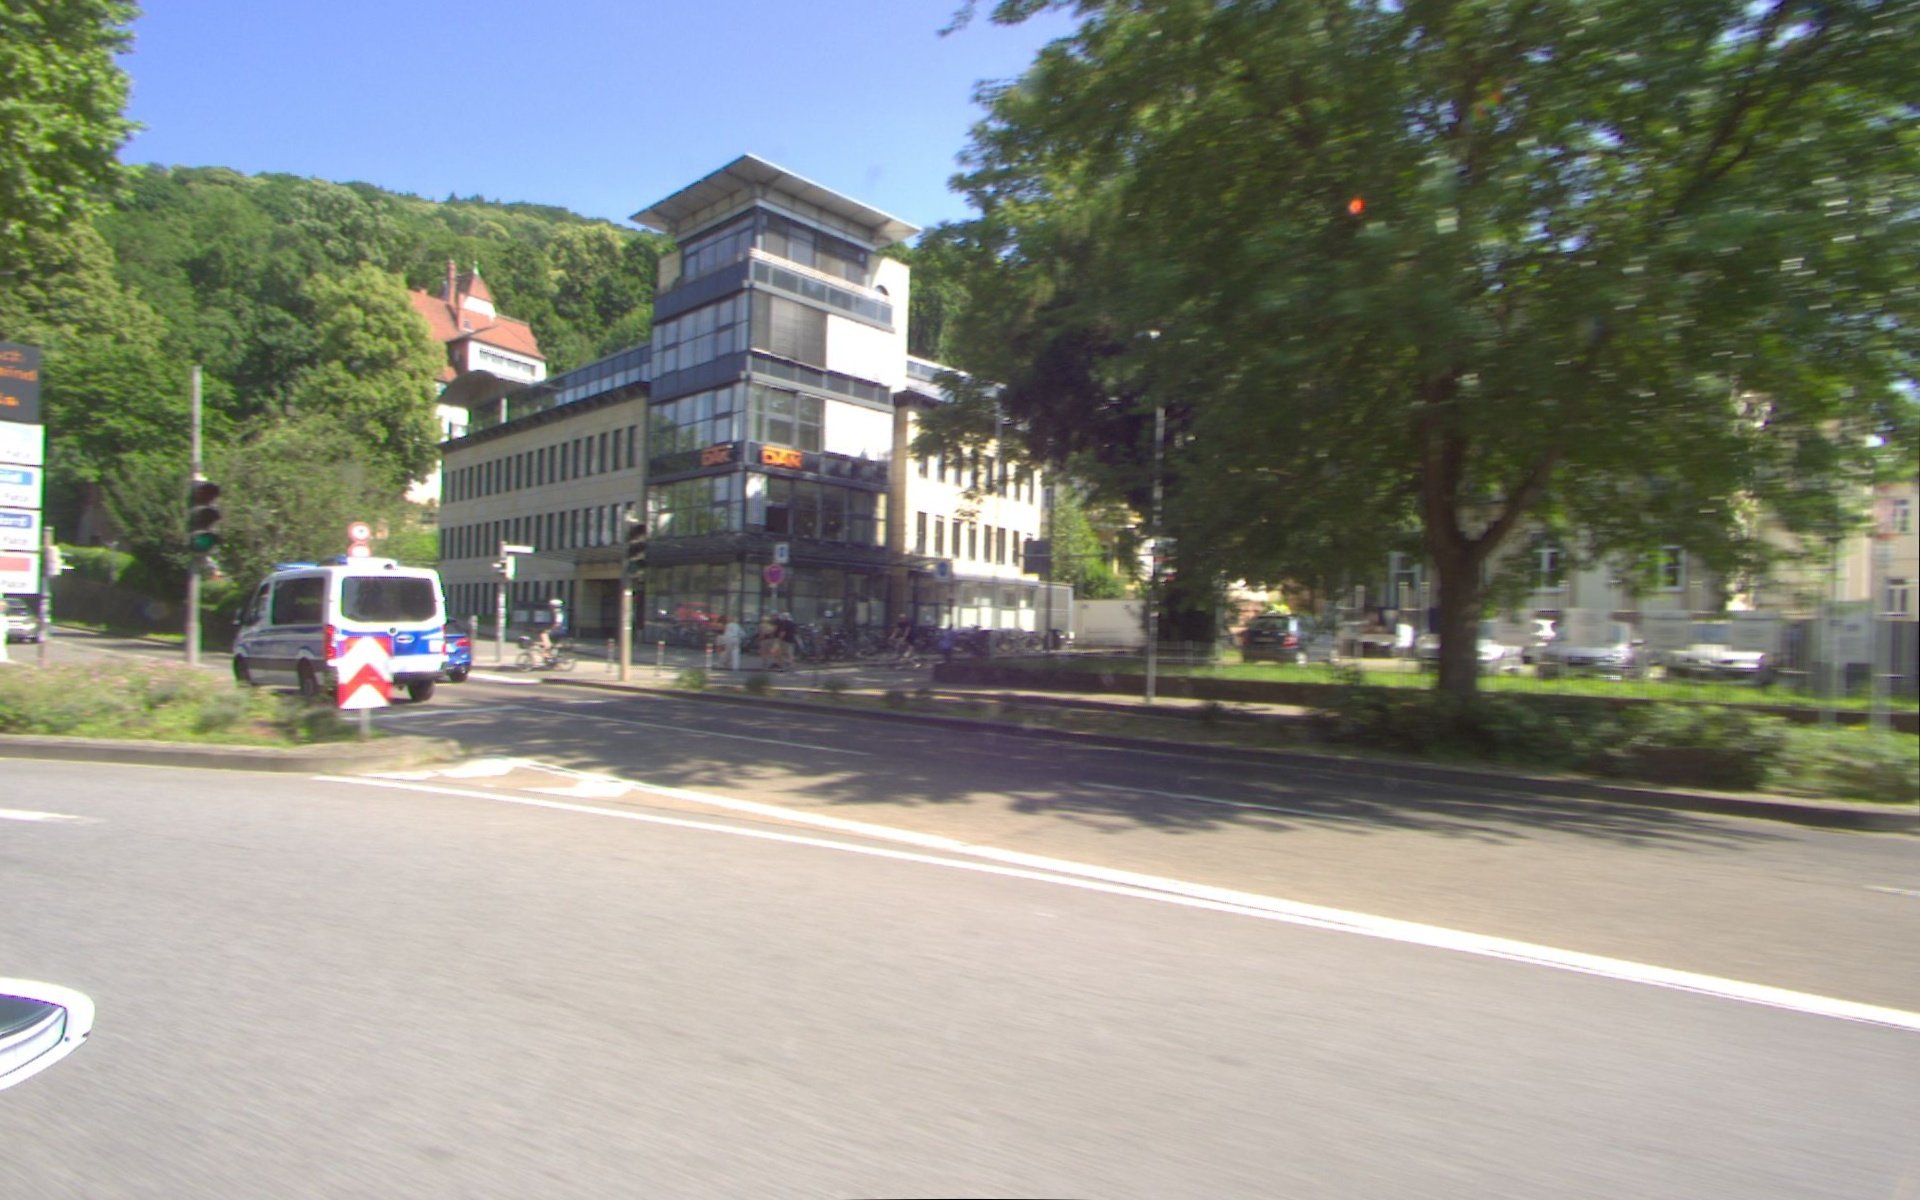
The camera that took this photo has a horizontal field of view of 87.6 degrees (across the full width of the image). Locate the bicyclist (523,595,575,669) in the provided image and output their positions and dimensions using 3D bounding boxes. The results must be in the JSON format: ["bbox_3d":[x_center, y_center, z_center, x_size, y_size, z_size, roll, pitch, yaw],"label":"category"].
[{"bbox_3d":[-11.045,0.870,26.919,1.116,1.957,0.743,2,-1,-36],"label":"bicyclist"}]

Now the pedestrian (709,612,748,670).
[{"bbox_3d":[-6.894,1.209,29.850,0.820,1.684,0.767,1,-1,43],"label":"pedestrian"}]

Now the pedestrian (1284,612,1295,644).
[{"bbox_3d":[20.648,1.753,62.783,0.487,2.040,0.575,2,0,37],"label":"pedestrian"}]

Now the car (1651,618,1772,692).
[{"bbox_3d":[15.711,1.115,20.846,1.838,1.353,4.025,1,-2,39],"label":"car"}]

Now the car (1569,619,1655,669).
[{"bbox_3d":[20.467,1.362,31.368,1.799,1.437,4.033,1,-2,39],"label":"car"}]

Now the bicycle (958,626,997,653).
[{"bbox_3d":[0.753,1.716,43.825,1.815,1.099,0.534,0,-1,44],"label":"bicycle"}]

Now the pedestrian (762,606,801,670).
[{"bbox_3d":[-5.358,1.146,30.052,0.766,1.878,0.821,3,-1,-44],"label":"pedestrian"}]

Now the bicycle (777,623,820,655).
[{"bbox_3d":[-5.926,1.409,36.681,1.815,1.099,0.534,0,-1,44],"label":"bicycle"}]

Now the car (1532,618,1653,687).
[{"bbox_3d":[14.136,1.129,22.281,1.799,1.353,4.069,1,-2,39],"label":"car"}]

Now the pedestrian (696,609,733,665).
[{"bbox_3d":[-7.560,1.153,30.862,0.766,1.684,0.821,3,-1,-45],"label":"pedestrian"}]

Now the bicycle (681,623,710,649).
[{"bbox_3d":[-10.023,1.369,37.973,1.326,0.953,0.403,1,0,43],"label":"bicycle"}]

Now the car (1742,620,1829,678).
[{"bbox_3d":[24.197,1.415,29.390,1.843,1.529,4.033,1,-2,39],"label":"car"}]

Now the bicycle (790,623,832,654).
[{"bbox_3d":[-5.512,1.426,37.055,1.815,1.099,0.534,0,-1,44],"label":"bicycle"}]

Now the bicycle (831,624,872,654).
[{"bbox_3d":[-4.166,1.483,38.325,1.815,1.099,0.534,0,-1,44],"label":"bicycle"}]

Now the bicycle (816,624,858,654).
[{"bbox_3d":[-4.666,1.464,37.951,1.815,1.099,0.534,0,-1,44],"label":"bicycle"}]

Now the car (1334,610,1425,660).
[{"bbox_3d":[14.918,1.243,35.477,1.799,1.624,4.291,1,-1,39],"label":"car"}]

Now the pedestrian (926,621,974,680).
[{"bbox_3d":[-0.277,1.401,27.960,1.109,1.601,0.736,2,-1,-35],"label":"pedestrian"}]

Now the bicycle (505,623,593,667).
[{"bbox_3d":[-11.042,1.227,26.927,2.058,1.127,0.751,3,-1,-36],"label":"bicycle"}]

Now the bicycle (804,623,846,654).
[{"bbox_3d":[-5.067,1.446,37.515,1.815,1.099,0.534,0,-1,44],"label":"bicycle"}]

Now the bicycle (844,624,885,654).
[{"bbox_3d":[-3.712,1.504,38.824,1.815,1.099,0.534,0,-1,44],"label":"bicycle"}]

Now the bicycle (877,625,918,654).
[{"bbox_3d":[-2.532,1.562,40.209,1.815,1.099,0.534,0,-1,44],"label":"bicycle"}]

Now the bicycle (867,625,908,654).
[{"bbox_3d":[-2.892,1.543,39.755,1.815,1.099,0.534,0,-1,44],"label":"bicycle"}]

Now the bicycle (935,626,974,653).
[{"bbox_3d":[-0.240,1.657,42.284,1.815,1.099,0.534,0,-1,44],"label":"bicycle"}]

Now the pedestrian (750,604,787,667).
[{"bbox_3d":[-5.855,1.075,30.625,0.766,1.878,0.822,3,-1,-42],"label":"pedestrian"}]

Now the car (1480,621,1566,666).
[{"bbox_3d":[18.733,1.426,33.234,1.799,1.353,4.060,1,-2,39],"label":"car"}]

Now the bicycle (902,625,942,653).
[{"bbox_3d":[-1.565,1.599,40.978,1.815,1.099,0.534,0,-1,44],"label":"bicycle"}]

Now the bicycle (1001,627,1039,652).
[{"bbox_3d":[2.759,1.810,46.030,1.815,1.099,0.534,0,-1,44],"label":"bicycle"}]

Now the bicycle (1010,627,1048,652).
[{"bbox_3d":[3.196,1.828,46.440,1.815,1.099,0.534,0,-1,44],"label":"bicycle"}]

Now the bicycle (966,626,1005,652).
[{"bbox_3d":[1.112,1.735,44.307,1.815,1.099,0.534,0,-1,44],"label":"bicycle"}]

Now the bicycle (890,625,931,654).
[{"bbox_3d":[-1.999,1.579,40.502,1.815,1.099,0.534,0,-1,44],"label":"bicycle"}]

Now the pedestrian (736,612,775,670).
[{"bbox_3d":[-6.062,1.207,29.688,0.766,1.684,0.821,3,-1,-43],"label":"pedestrian"}]

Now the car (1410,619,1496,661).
[{"bbox_3d":[17.031,1.372,34.516,1.799,1.353,4.025,1,-2,39],"label":"car"}]

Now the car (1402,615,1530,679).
[{"bbox_3d":[12.095,1.103,23.796,1.799,1.353,4.449,1,-2,39],"label":"car"}]

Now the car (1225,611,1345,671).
[{"bbox_3d":[8.941,1.110,27.350,1.853,1.495,4.130,1,-1,37],"label":"car"}]

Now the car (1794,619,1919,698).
[{"bbox_3d":[17.513,1.107,19.438,1.967,1.353,4.025,1,-2,39],"label":"car"}]

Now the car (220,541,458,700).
[{"bbox_3d":[-11.409,0.378,18.270,4.867,2.540,2.067,0,-2,38],"label":"car"}]

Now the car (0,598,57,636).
[{"bbox_3d":[-35.699,0.603,37.530,3.746,1.351,1.754,1,-2,32],"label":"car"}]

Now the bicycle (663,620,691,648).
[{"bbox_3d":[-11.070,1.316,39.108,1.326,1.026,0.403,1,0,43],"label":"bicycle"}]

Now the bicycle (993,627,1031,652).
[{"bbox_3d":[2.361,1.792,45.625,1.815,1.099,0.534,0,-1,44],"label":"bicycle"}]

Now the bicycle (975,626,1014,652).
[{"bbox_3d":[1.540,1.754,44.750,1.815,1.099,0.534,0,-1,44],"label":"bicycle"}]

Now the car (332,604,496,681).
[{"bbox_3d":[-12.738,0.964,23.280,4.215,1.560,1.715,1,-2,37],"label":"car"}]

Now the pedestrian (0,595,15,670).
[{"bbox_3d":[-21.162,0.705,21.966,0.542,1.642,0.629,1,0,-39],"label":"pedestrian"}]

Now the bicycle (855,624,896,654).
[{"bbox_3d":[-3.320,1.523,39.273,1.815,1.099,0.534,0,-1,44],"label":"bicycle"}]

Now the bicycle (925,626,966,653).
[{"bbox_3d":[-0.616,1.638,41.826,1.815,1.099,0.534,0,-1,44],"label":"bicycle"}]

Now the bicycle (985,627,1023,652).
[{"bbox_3d":[1.965,1.774,45.199,1.815,1.099,0.534,0,-1,44],"label":"bicycle"}]

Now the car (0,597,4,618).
[{"bbox_3d":[-69.789,0.468,71.576,3.604,1.480,1.748,0,-2,42],"label":"car"}]

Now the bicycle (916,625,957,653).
[{"bbox_3d":[-0.975,1.619,41.338,1.815,1.099,0.534,0,-1,44],"label":"bicycle"}]
